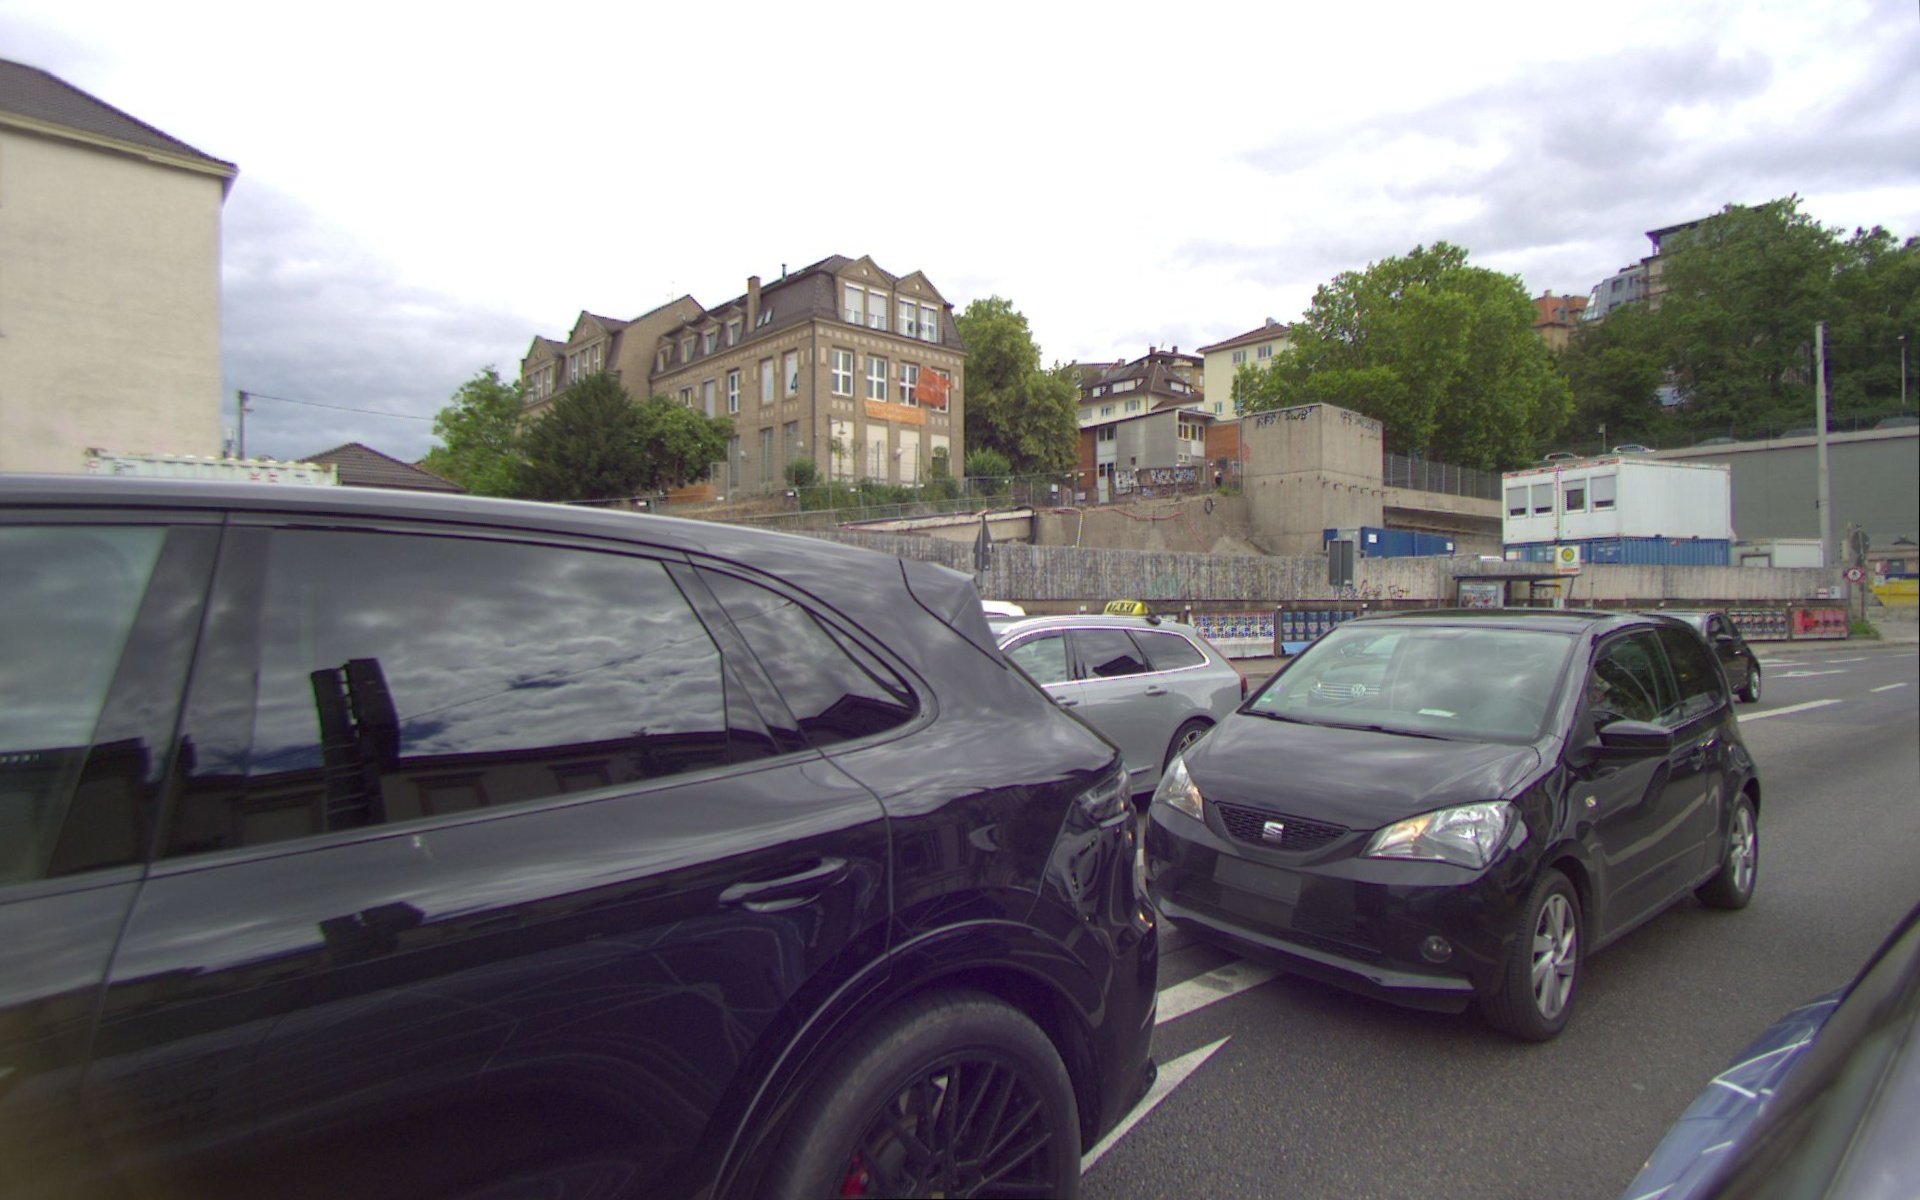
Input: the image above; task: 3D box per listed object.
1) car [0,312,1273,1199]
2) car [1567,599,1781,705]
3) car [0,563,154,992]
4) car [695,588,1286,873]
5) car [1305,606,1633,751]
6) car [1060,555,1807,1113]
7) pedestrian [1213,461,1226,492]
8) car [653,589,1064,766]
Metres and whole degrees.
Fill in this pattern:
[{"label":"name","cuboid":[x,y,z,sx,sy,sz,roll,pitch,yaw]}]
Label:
[{"label":"car","cuboid":[-1.652,0.563,1.673,4.497,1.689,1.998,-1,0,-39]},{"label":"car","cuboid":[11.297,0.757,15.939,3.711,1.478,1.721,1,-2,-38]},{"label":"car","cuboid":[-5.056,0.643,3.463,3.581,1.529,1.826,-1,0,-39]},{"label":"car","cuboid":[0.405,0.665,7.346,4.142,1.484,1.825,-1,0,-40]},{"label":"car","cuboid":[6.029,0.778,11.812,4.139,1.381,1.827,1,0,-38]},{"label":"car","cuboid":[2.417,0.639,4.725,3.841,1.575,1.661,-1,0,-39]},{"label":"pedestrian","cuboid":[15.934,-7.561,62.189,0.559,1.817,0.554,0,0,-40]},{"label":"car","cuboid":[-0.934,0.641,10.610,4.004,1.484,1.824,-1,0,-42]}]
